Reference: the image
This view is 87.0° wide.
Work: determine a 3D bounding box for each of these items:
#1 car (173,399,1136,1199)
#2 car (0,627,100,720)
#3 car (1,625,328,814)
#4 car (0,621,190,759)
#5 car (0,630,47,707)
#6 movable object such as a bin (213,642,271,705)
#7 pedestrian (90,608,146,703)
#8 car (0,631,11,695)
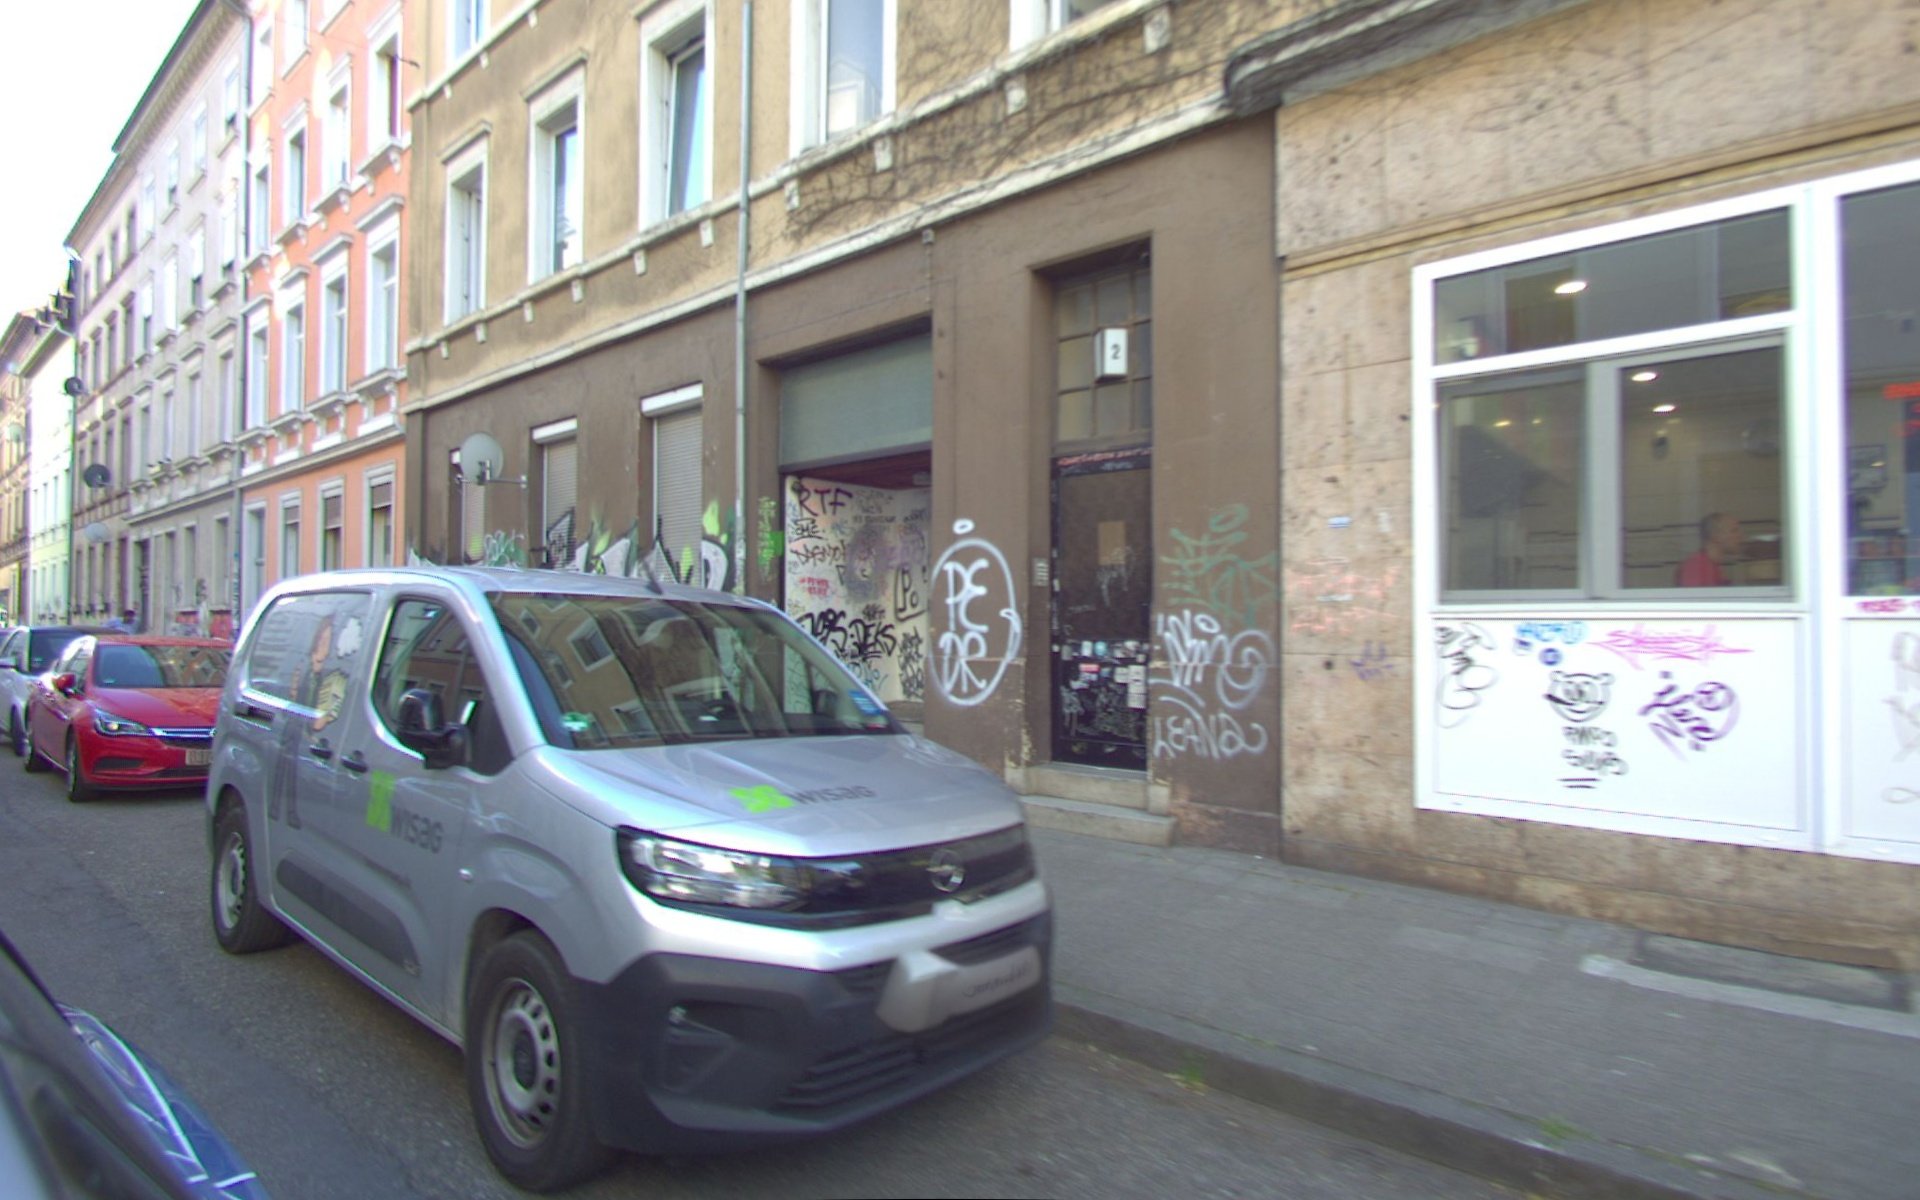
[{"bbox_3d":[-1.661,0.640,4.232,4.517,1.925,1.661,-2,-5,42],"label":"car"},{"bbox_3d":[-16.623,1.234,17.772,3.608,1.504,1.662,-2,-3,39],"label":"car"},{"bbox_3d":[-7.972,1.031,10.002,4.200,1.485,1.662,-1,-4,40],"label":"car"},{"bbox_3d":[-11.471,1.087,13.085,2.955,1.561,1.663,-1,-4,38],"label":"car"},{"bbox_3d":[-20.266,1.363,20.872,4.311,1.474,1.661,-2,-3,42],"label":"car"},{"bbox_3d":[-12.867,1.302,18.132,0.768,1.057,0.663,-2,0,-41],"label":"movable object such as a bin"},{"bbox_3d":[-16.888,1.095,20.298,0.594,1.845,0.780,-2,-1,41],"label":"pedestrian"},{"bbox_3d":[-23.939,1.488,24.245,1.659,1.474,3.862,2,-3,-44],"label":"car"}]
